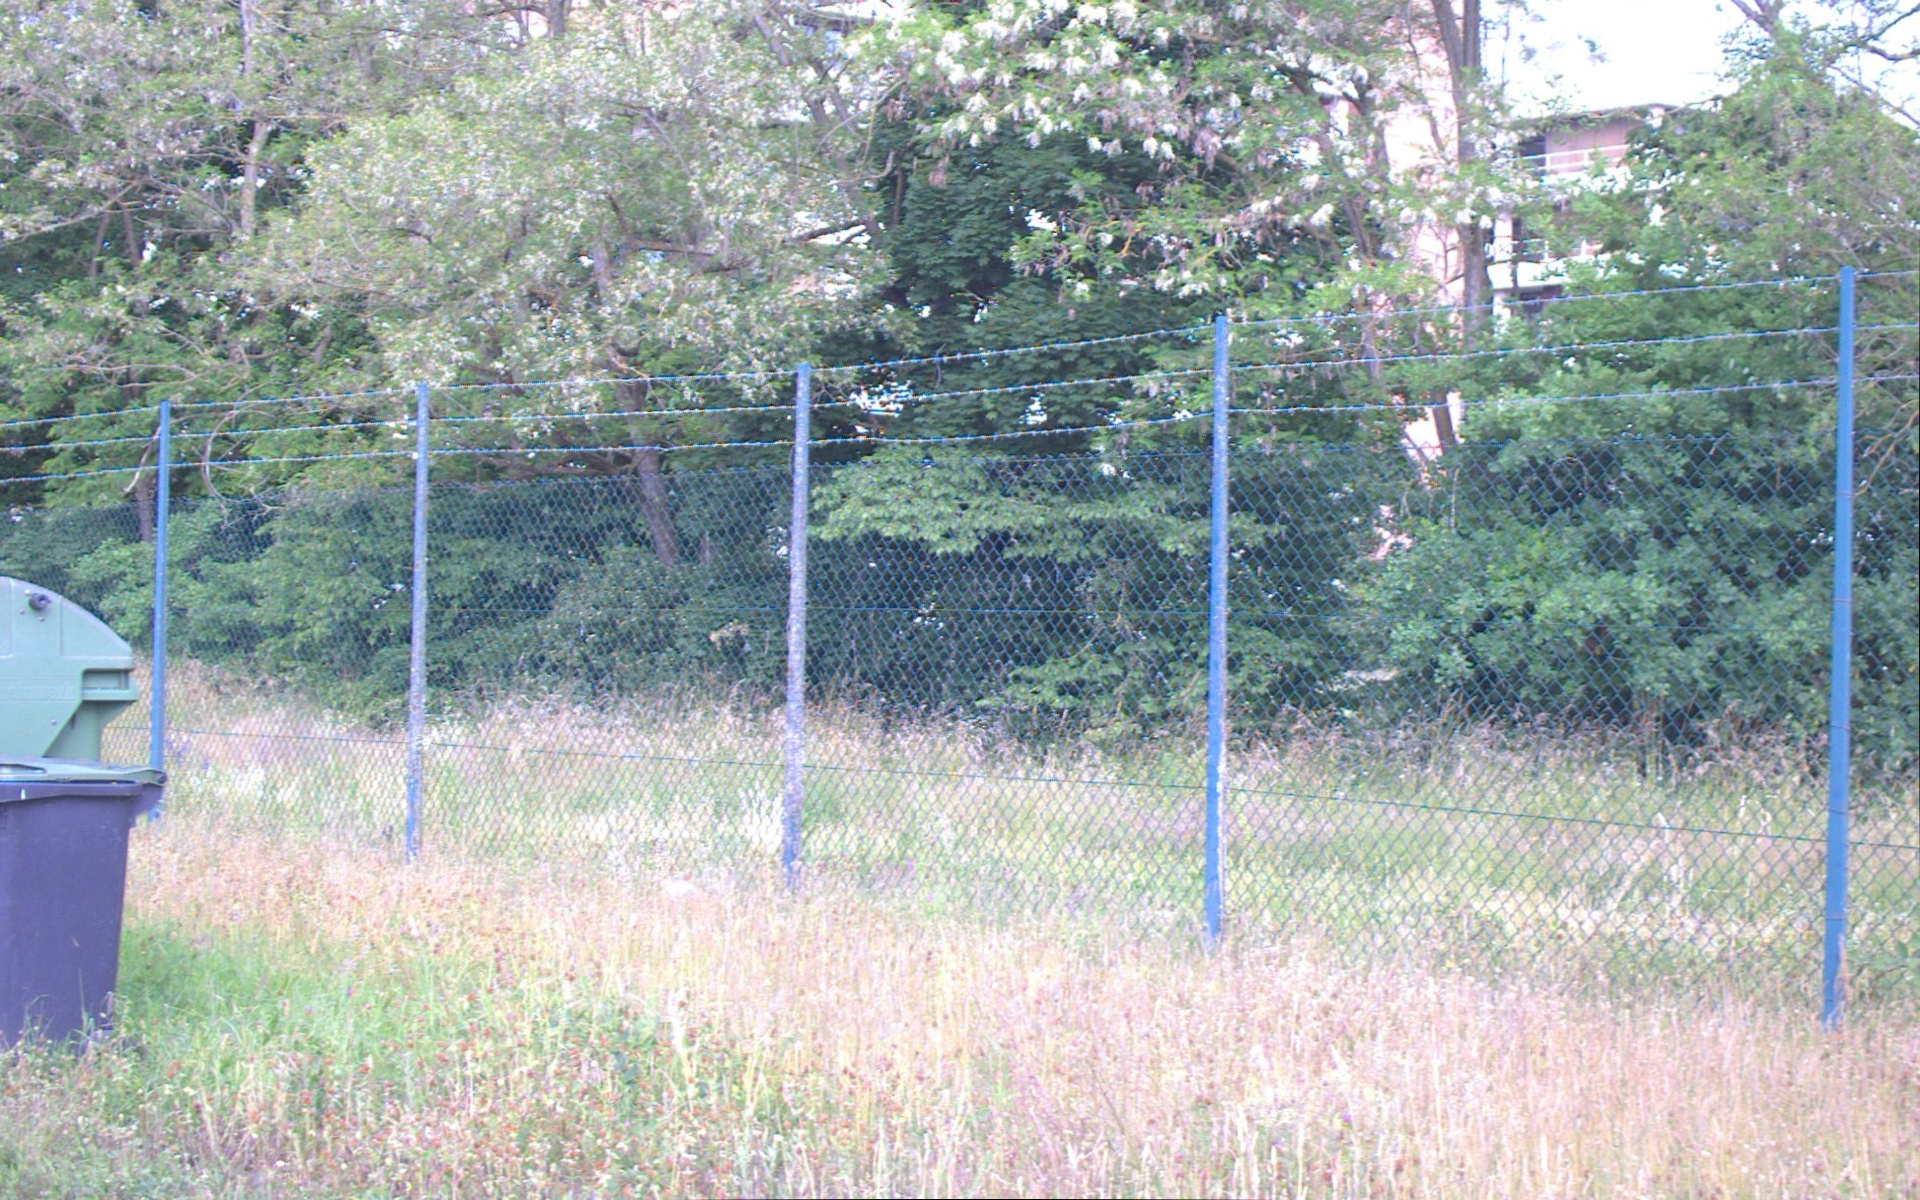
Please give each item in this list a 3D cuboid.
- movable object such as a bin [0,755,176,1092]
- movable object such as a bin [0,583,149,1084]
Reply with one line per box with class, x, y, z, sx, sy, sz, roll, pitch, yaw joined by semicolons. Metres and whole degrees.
movable object such as a bin;-2.518;0.861;9.319;0.599;0.863;0.586;2;-1;-31
movable object such as a bin;-3.149;0.651;10.059;1.128;1.391;1.356;2;-1;-31
